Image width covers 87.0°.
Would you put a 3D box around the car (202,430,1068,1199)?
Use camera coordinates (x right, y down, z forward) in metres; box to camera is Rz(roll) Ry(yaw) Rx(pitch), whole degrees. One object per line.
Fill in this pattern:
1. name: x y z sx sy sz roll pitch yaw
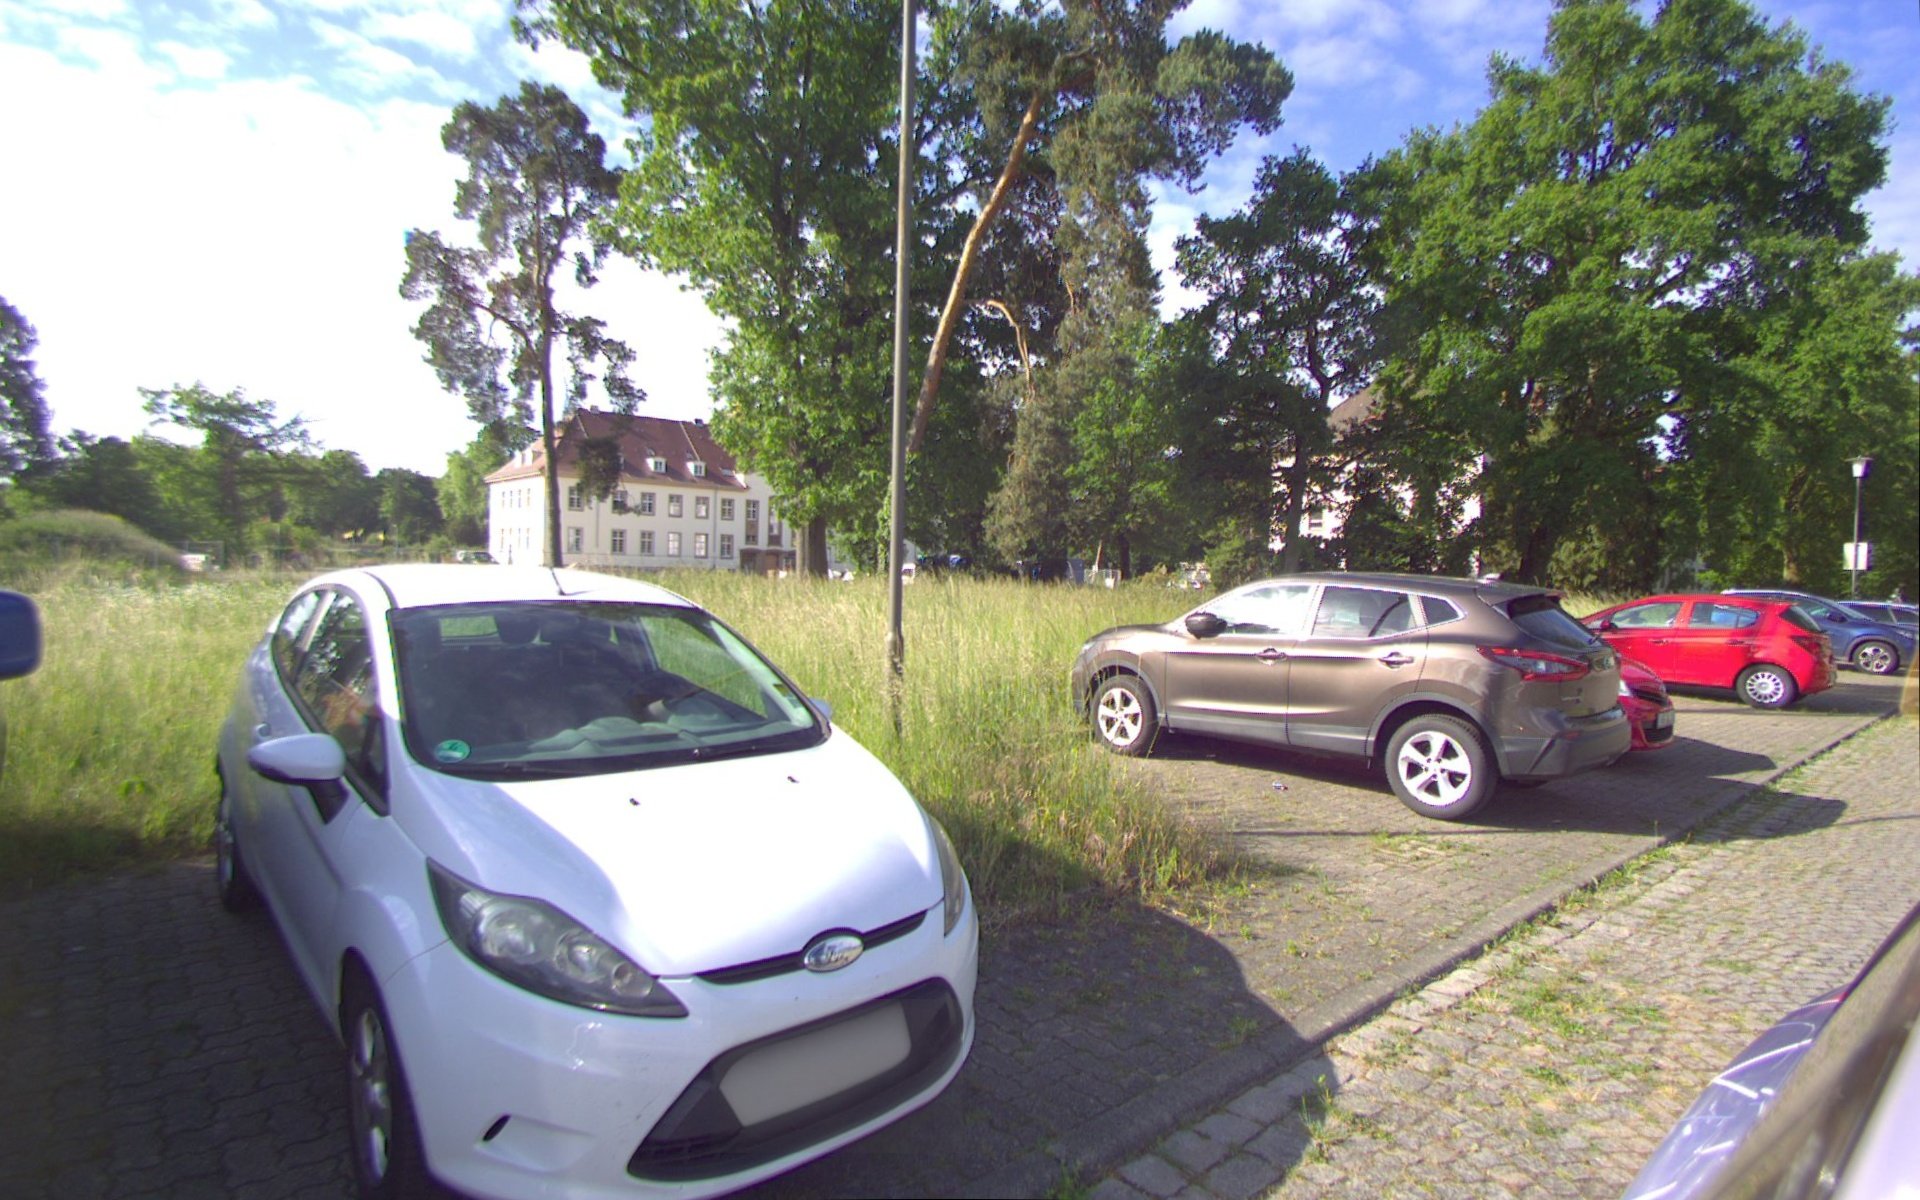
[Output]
1. car: -1.830 0.328 4.280 1.905 1.596 4.407 0 3 -41

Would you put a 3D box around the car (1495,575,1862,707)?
1. car: 10.488 0.490 15.006 1.821 1.477 4.095 1 3 -42

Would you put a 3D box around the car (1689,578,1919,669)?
1. car: 18.180 0.452 21.434 1.821 1.576 4.095 1 3 -42

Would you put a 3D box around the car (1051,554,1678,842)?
1. car: 2.955 0.491 8.095 1.902 1.617 4.231 -1 3 -43

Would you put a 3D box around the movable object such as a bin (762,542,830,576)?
1. movable object such as a bin: -16.691 -4.170 103.432 6.337 3.342 2.863 0 0 6

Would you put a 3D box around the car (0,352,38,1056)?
1. car: -3.441 0.306 2.207 1.965 1.959 4.709 0 3 -41

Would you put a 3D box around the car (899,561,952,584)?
1. car: -2.966 -2.372 87.459 4.318 1.963 1.905 -1 0 -40

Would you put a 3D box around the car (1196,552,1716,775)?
1. car: 4.722 0.415 10.123 1.902 1.617 4.232 -1 4 -43

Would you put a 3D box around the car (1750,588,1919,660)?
1. car: 21.785 0.570 24.337 1.754 1.440 4.095 1 3 -42
